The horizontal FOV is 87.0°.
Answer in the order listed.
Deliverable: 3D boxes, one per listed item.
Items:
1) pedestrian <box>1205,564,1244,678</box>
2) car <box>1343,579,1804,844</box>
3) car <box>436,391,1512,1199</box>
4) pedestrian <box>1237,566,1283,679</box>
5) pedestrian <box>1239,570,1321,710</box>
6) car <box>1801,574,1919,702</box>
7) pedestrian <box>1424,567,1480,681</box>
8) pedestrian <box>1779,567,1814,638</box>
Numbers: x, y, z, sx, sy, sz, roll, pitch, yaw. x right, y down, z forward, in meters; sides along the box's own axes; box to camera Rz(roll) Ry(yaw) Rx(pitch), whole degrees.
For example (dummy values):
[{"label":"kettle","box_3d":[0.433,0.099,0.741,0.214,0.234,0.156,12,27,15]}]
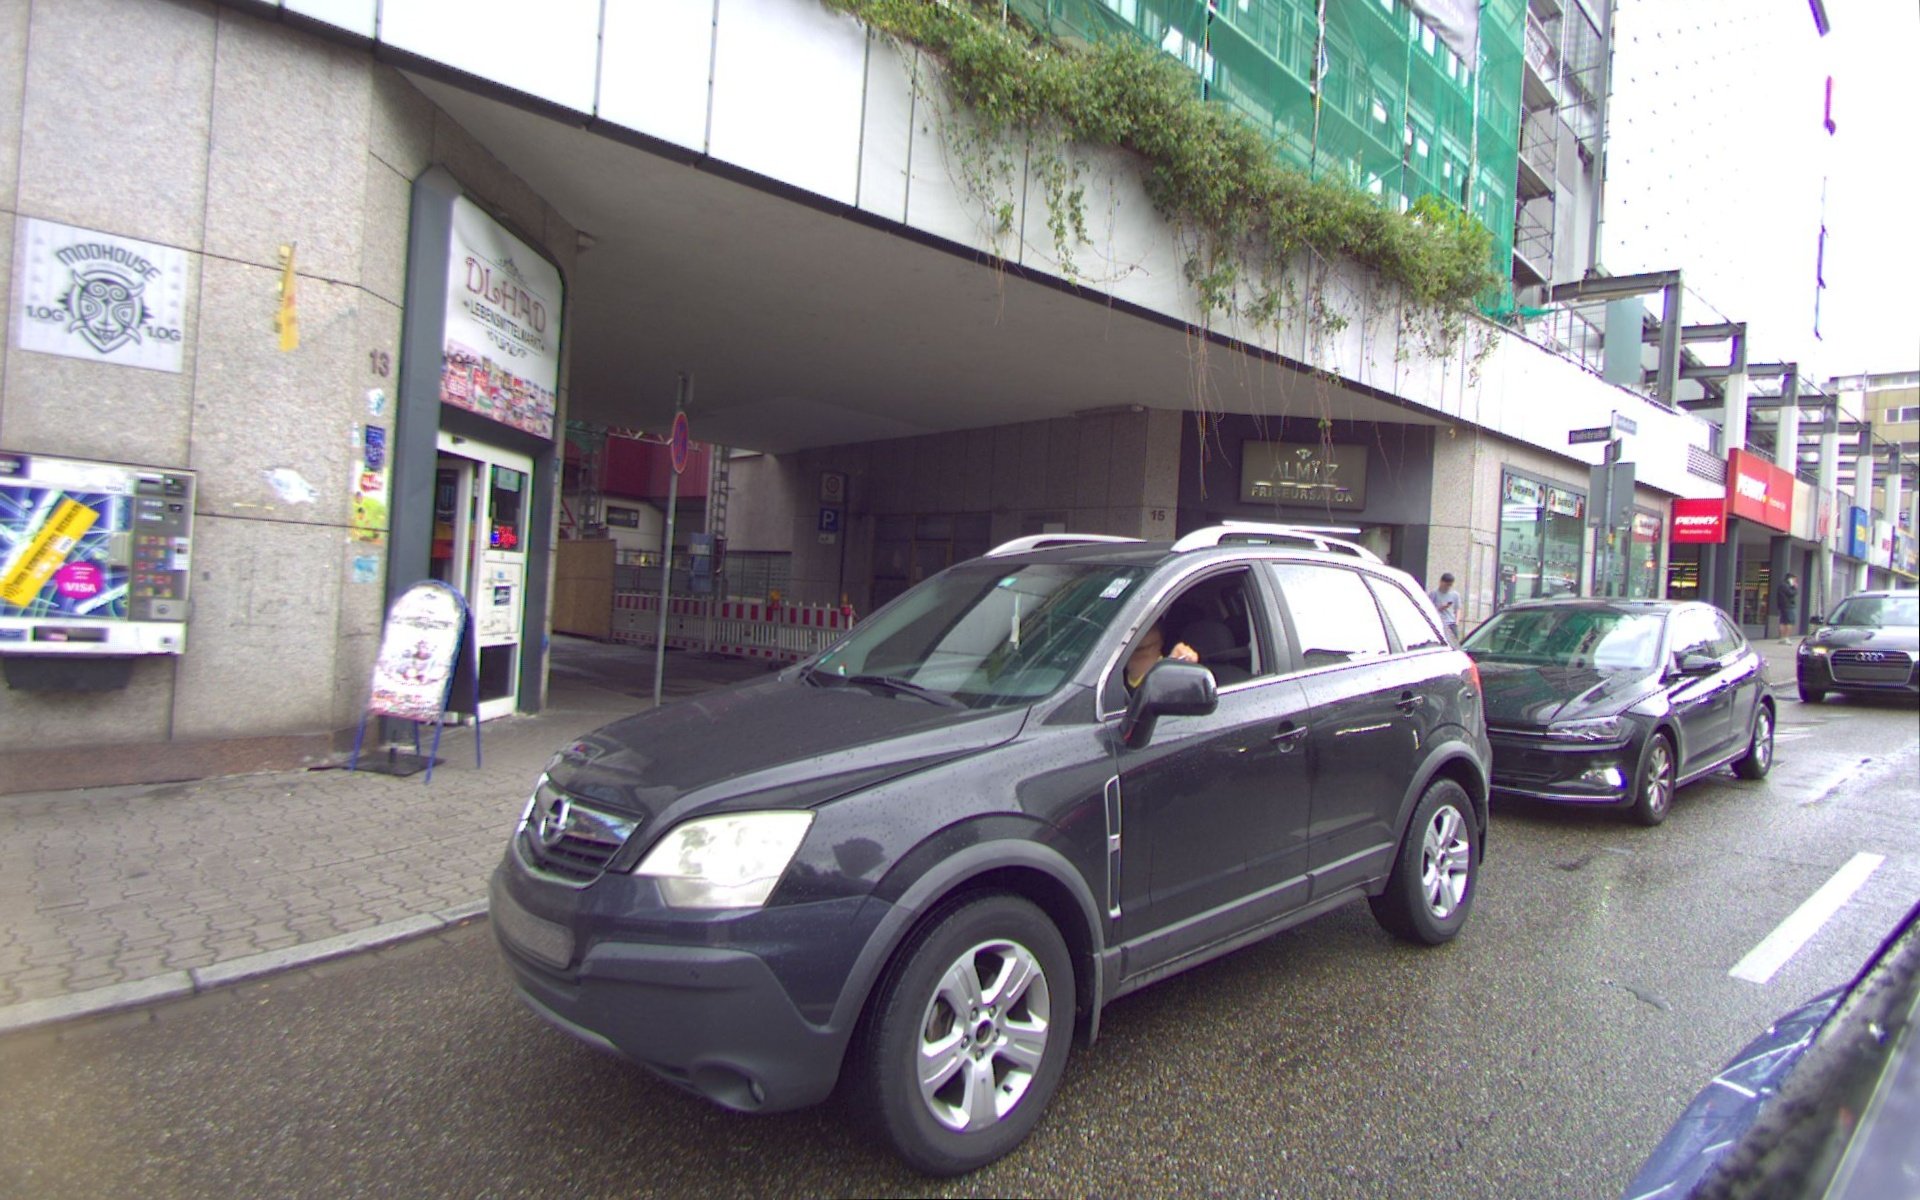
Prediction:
[{"label":"pedestrian","box_3d":[4.075,0.316,15.599,0.474,1.729,0.467,0,0,1]},{"label":"car","box_3d":[4.873,0.658,7.810,4.088,1.523,1.759,1,0,-39]},{"label":"car","box_3d":[0.403,0.498,3.990,4.090,1.788,1.763,1,0,-40]},{"label":"pedestrian","box_3d":[4.392,0.321,14.827,0.630,1.615,0.574,0,1,17]},{"label":"pedestrian","box_3d":[4.421,0.524,13.988,0.760,1.838,0.743,0,3,-40]},{"label":"car","box_3d":[13.668,0.464,14.435,4.089,1.628,1.841,-1,1,-39]},{"label":"pedestrian","box_3d":[7.412,0.339,15.253,0.635,1.663,0.724,0,1,37]},{"label":"pedestrian","box_3d":[20.248,0.049,24.502,0.570,1.699,0.509,-1,3,-42]}]
